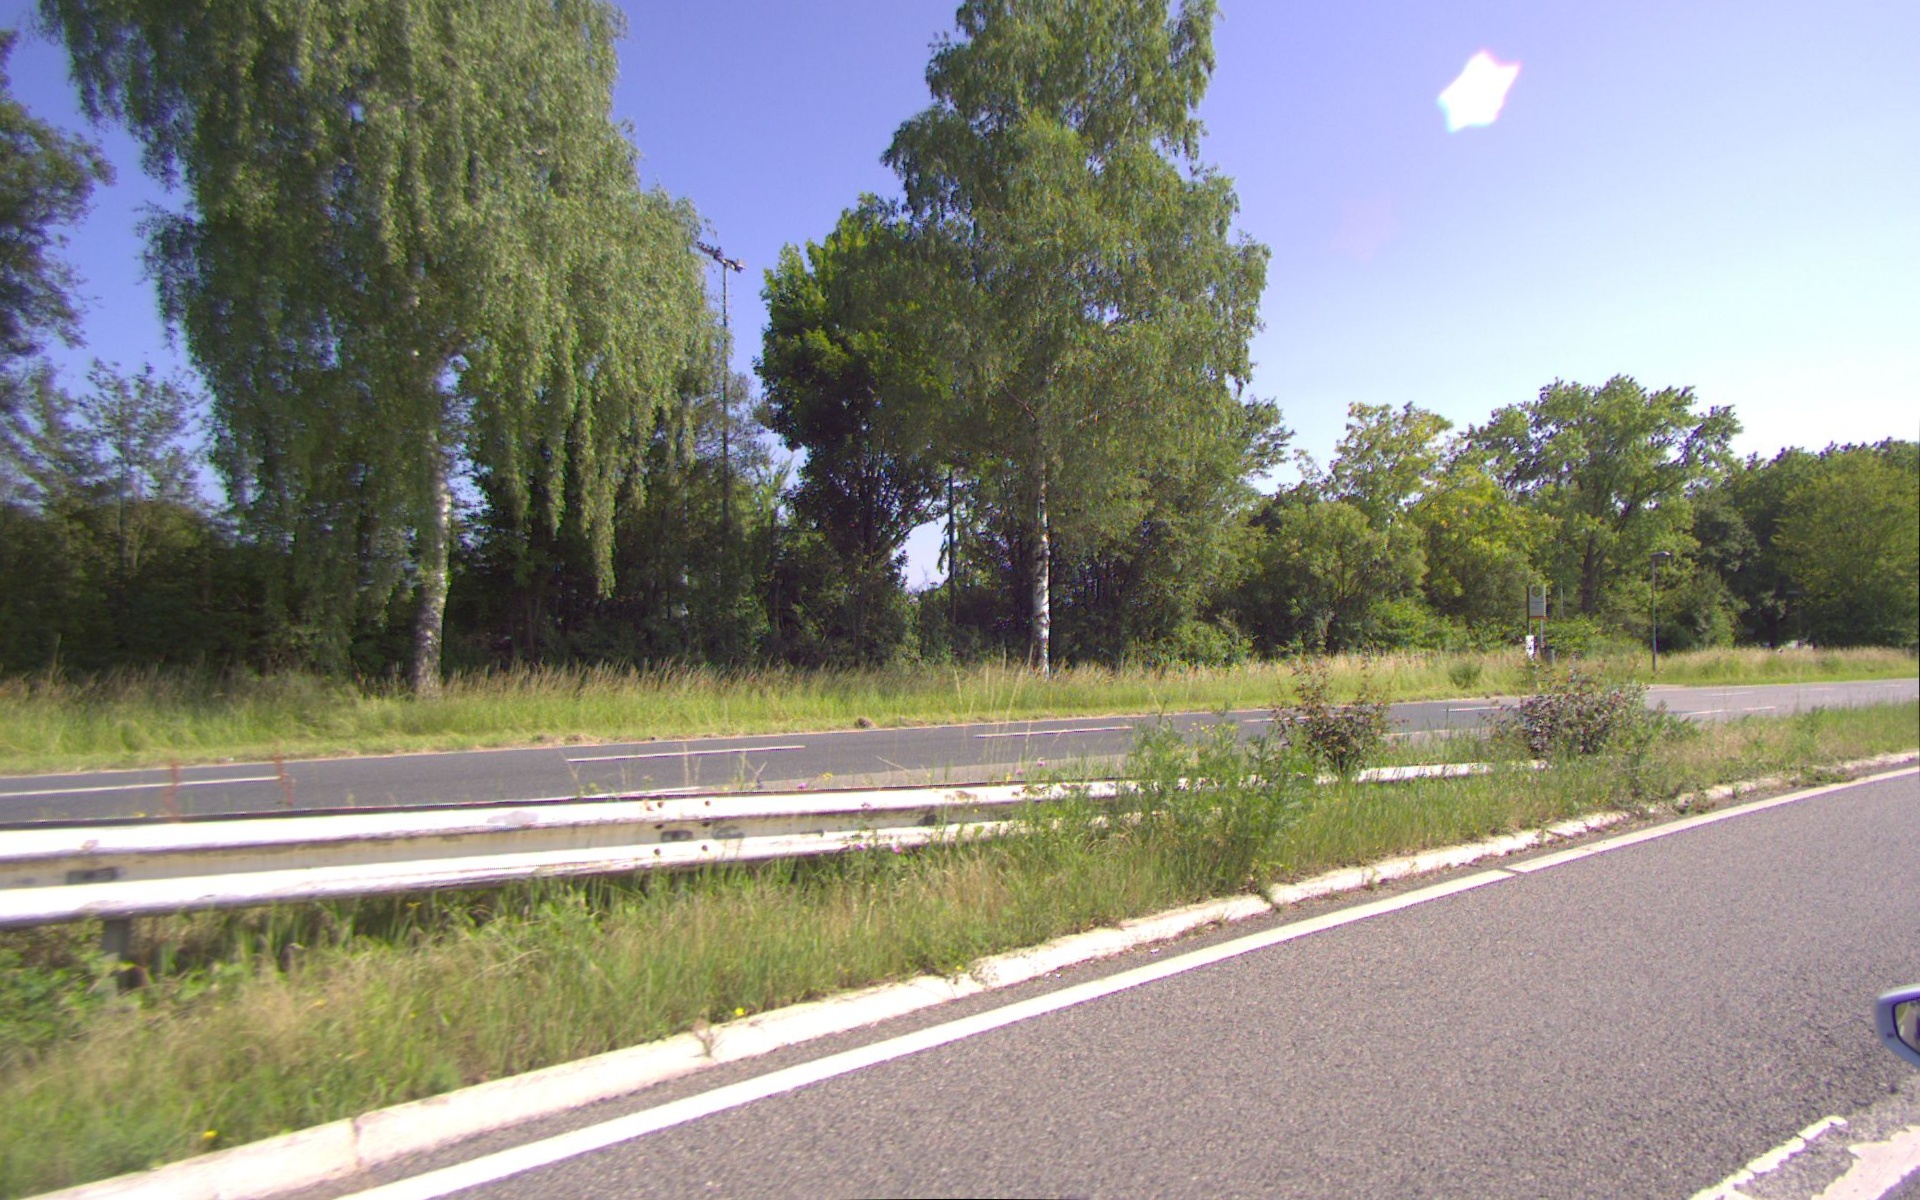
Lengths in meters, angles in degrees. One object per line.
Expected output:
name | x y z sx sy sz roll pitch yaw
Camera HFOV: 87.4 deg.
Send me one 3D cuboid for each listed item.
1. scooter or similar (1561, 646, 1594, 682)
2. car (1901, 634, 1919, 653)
scooter or similar | 20.853 2.152 33.889 1.325 1.201 0.366 2 -3 -31
car | 94.445 4.264 97.681 1.964 1.824 4.510 0 -2 5
